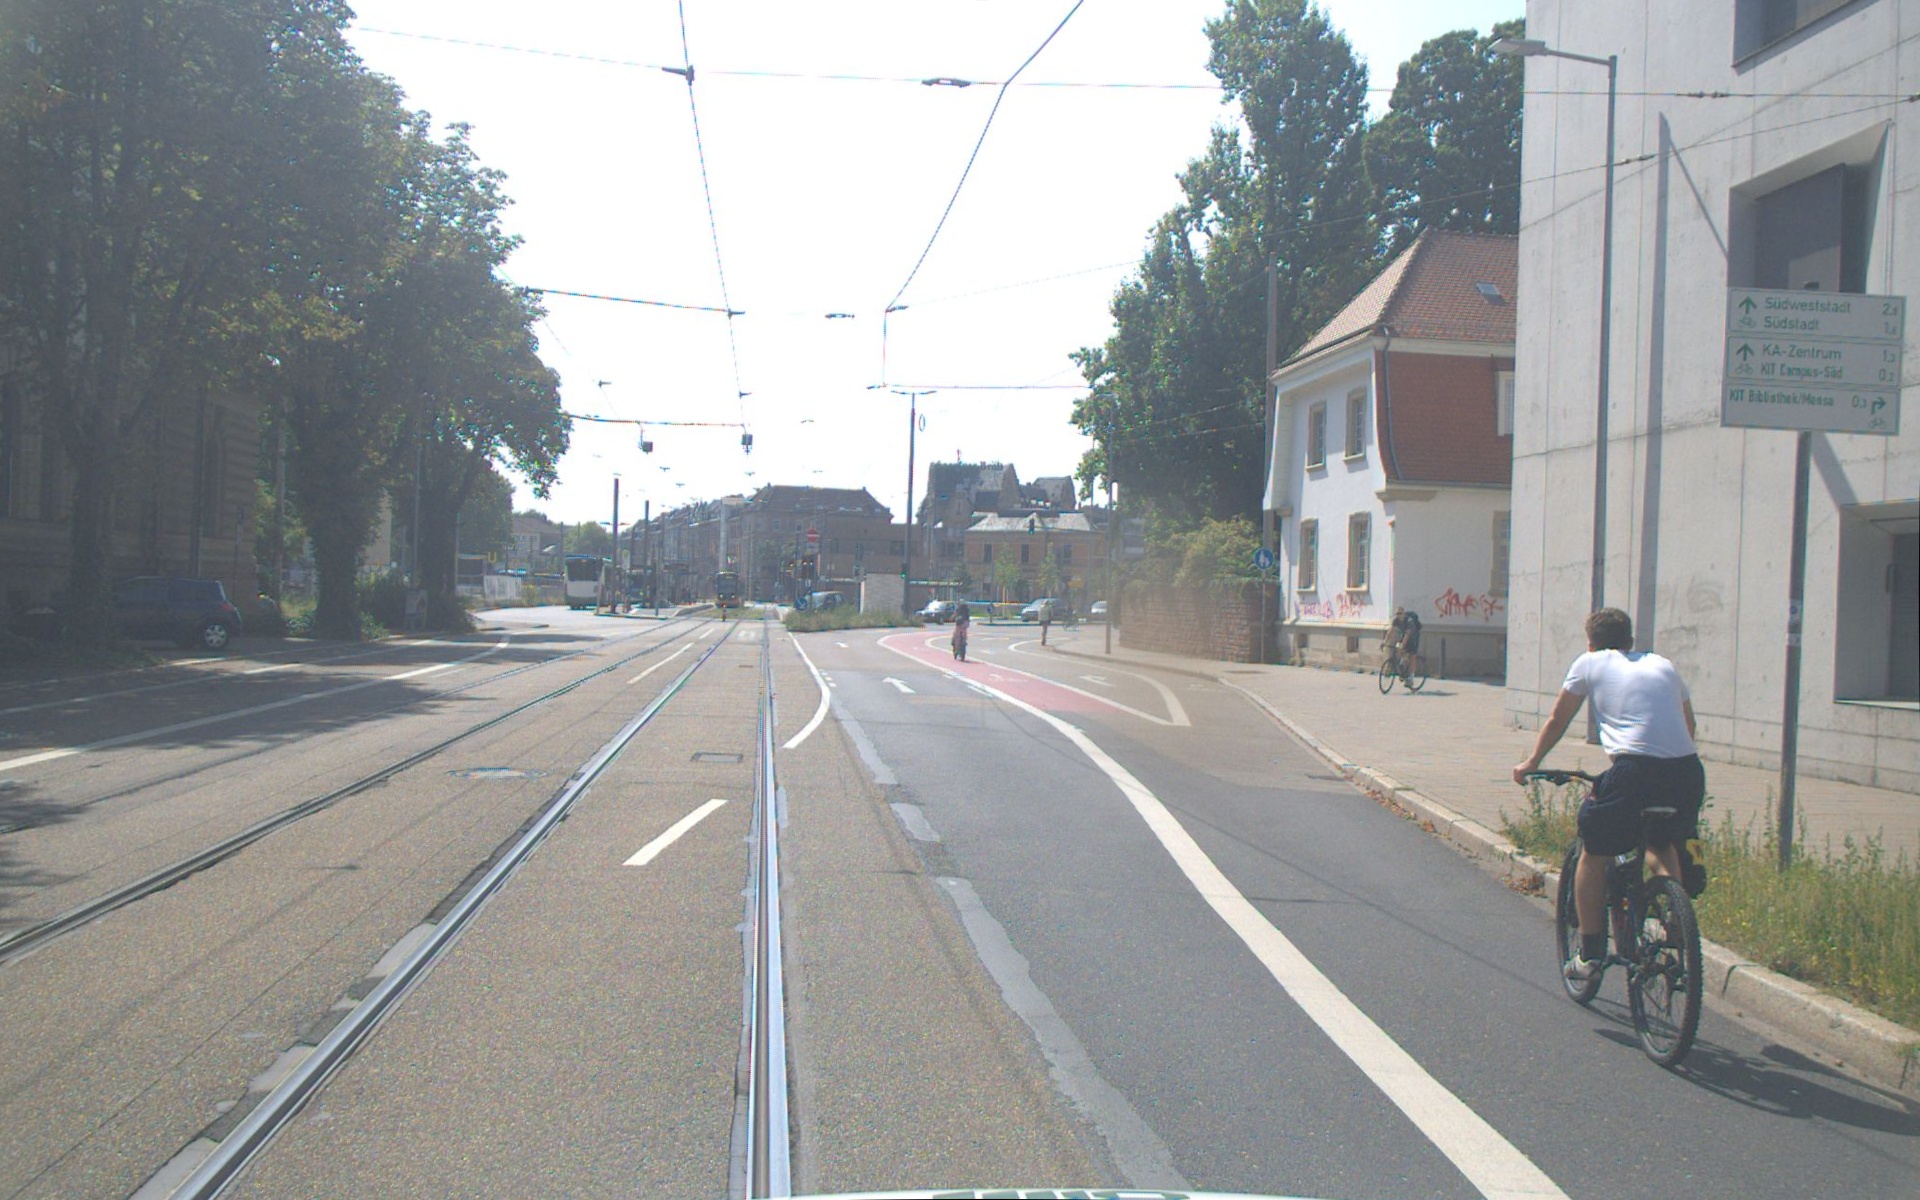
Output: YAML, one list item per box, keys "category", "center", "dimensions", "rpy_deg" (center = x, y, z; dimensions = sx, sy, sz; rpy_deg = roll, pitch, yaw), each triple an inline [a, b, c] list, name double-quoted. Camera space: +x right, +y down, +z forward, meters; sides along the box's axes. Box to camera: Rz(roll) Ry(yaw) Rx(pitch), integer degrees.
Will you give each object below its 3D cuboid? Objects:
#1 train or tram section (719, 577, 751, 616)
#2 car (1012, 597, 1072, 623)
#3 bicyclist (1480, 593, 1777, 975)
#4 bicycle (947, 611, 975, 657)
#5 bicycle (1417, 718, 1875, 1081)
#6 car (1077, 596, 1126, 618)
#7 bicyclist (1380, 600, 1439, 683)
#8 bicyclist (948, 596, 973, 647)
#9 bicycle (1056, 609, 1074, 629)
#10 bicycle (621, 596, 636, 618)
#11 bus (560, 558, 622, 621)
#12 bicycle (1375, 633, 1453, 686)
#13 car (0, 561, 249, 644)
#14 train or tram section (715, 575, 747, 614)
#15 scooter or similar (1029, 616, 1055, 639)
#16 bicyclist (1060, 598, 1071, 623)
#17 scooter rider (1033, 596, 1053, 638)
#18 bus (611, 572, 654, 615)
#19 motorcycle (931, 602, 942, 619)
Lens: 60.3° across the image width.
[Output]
- category: "train or tram section"
  center: [-25.176, -0.347, 185.655]
  dimensions: [2.831, 4.139, 19.114]
  rpy_deg: [2, 0, -6]
- category: "car"
  center: [5.443, 0.666, 109.762]
  dimensions: [1.742, 1.639, 4.656]
  rpy_deg: [1, 0, 35]
- category: "bicyclist"
  center: [2.692, 0.700, 6.756]
  dimensions: [0.730, 1.436, 0.960]
  rpy_deg: [2, 0, -7]
- category: "bicycle"
  center: [0.026, 0.902, 44.644]
  dimensions: [0.592, 1.183, 1.809]
  rpy_deg: [1, 0, -4]
- category: "bicycle"
  center: [2.671, 1.113, 6.796]
  dimensions: [0.725, 1.067, 2.230]
  rpy_deg: [2, 0, -7]
- category: "car"
  center: [10.163, 0.514, 118.524]
  dimensions: [1.621, 1.557, 4.312]
  rpy_deg: [1, 0, 33]
- category: "bicyclist"
  center: [8.951, 0.825, 32.909]
  dimensions: [0.981, 1.626, 0.620]
  rpy_deg: [2, 0, -37]
- category: "bicyclist"
  center: [0.022, 0.584, 44.684]
  dimensions: [0.591, 1.358, 0.659]
  rpy_deg: [1, 0, -5]
- category: "bicycle"
  center: [6.033, 1.094, 95.085]
  dimensions: [0.436, 1.136, 1.444]
  rpy_deg: [1, 0, 29]
- category: "bicycle"
  center: [-19.269, 0.421, 96.136]
  dimensions: [0.595, 1.244, 1.704]
  rpy_deg: [1, 0, -3]
- category: "bus"
  center: [-24.172, -0.628, 108.793]
  dimensions: [2.902, 3.841, 10.579]
  rpy_deg: [2, 0, -7]
- category: "bicycle"
  center: [9.066, 1.191, 33.010]
  dimensions: [1.693, 1.017, 0.608]
  rpy_deg: [2, -1, -38]
- category: "car"
  center: [-16.554, 0.066, 32.811]
  dimensions: [4.132, 1.522, 1.791]
  rpy_deg: [2, 0, -45]
- category: "train or tram section"
  center: [-22.909, -0.490, 166.103]
  dimensions: [2.802, 3.610, 17.714]
  rpy_deg: [2, 0, -7]
- category: "scooter or similar"
  center: [3.505, 1.165, 70.760]
  dimensions: [0.756, 0.942, 1.621]
  rpy_deg: [2, 0, 15]
- category: "bicyclist"
  center: [6.096, 0.590, 95.187]
  dimensions: [0.441, 1.446, 0.495]
  rpy_deg: [1, -1, 29]
- category: "scooter rider"
  center: [3.563, 0.723, 70.908]
  dimensions: [0.746, 1.806, 0.555]
  rpy_deg: [1, 0, 15]
- category: "bus"
  center: [-30.431, -0.560, 153.989]
  dimensions: [2.657, 3.792, 10.407]
  rpy_deg: [2, 0, -5]
- category: "motorcycle"
  center: [-1.699, 0.793, 122.065]
  dimensions: [0.591, 1.232, 2.254]
  rpy_deg: [1, 0, 4]
